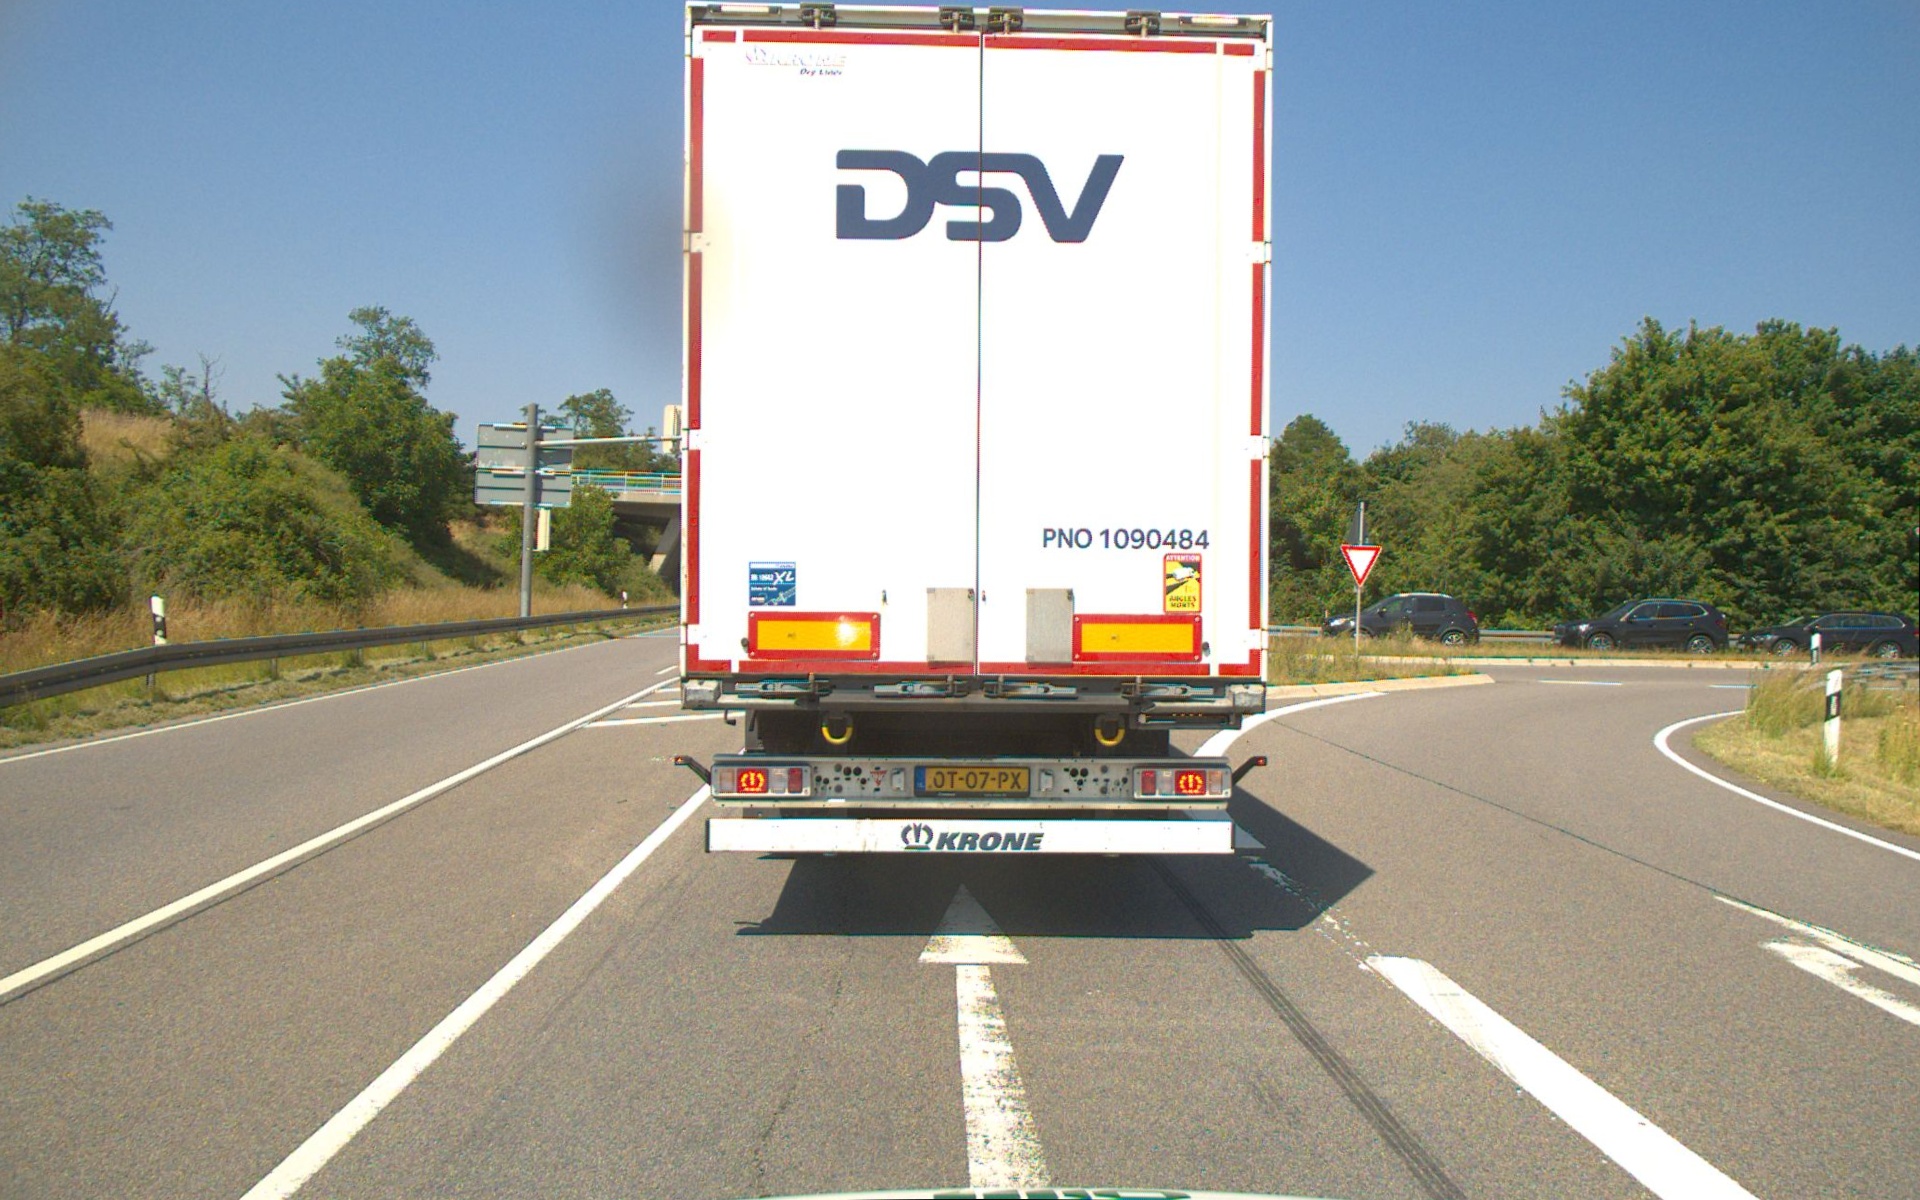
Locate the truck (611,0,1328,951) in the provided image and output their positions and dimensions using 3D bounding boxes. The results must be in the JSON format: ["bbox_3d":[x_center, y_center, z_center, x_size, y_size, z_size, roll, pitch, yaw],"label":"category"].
[{"bbox_3d":[-0.064,-0.560,11.781,2.927,4.011,9.872,1,0,-1],"label":"truck"}]

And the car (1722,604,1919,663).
[{"bbox_3d":[23.821,0.921,45.800,4.583,1.540,1.854,1,-1,6],"label":"car"}]

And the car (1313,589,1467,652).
[{"bbox_3d":[11.976,0.569,46.259,3.901,1.669,1.842,1,-1,5],"label":"car"}]

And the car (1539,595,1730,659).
[{"bbox_3d":[18.024,0.707,44.317,4.393,1.626,1.768,1,-1,2],"label":"car"}]
